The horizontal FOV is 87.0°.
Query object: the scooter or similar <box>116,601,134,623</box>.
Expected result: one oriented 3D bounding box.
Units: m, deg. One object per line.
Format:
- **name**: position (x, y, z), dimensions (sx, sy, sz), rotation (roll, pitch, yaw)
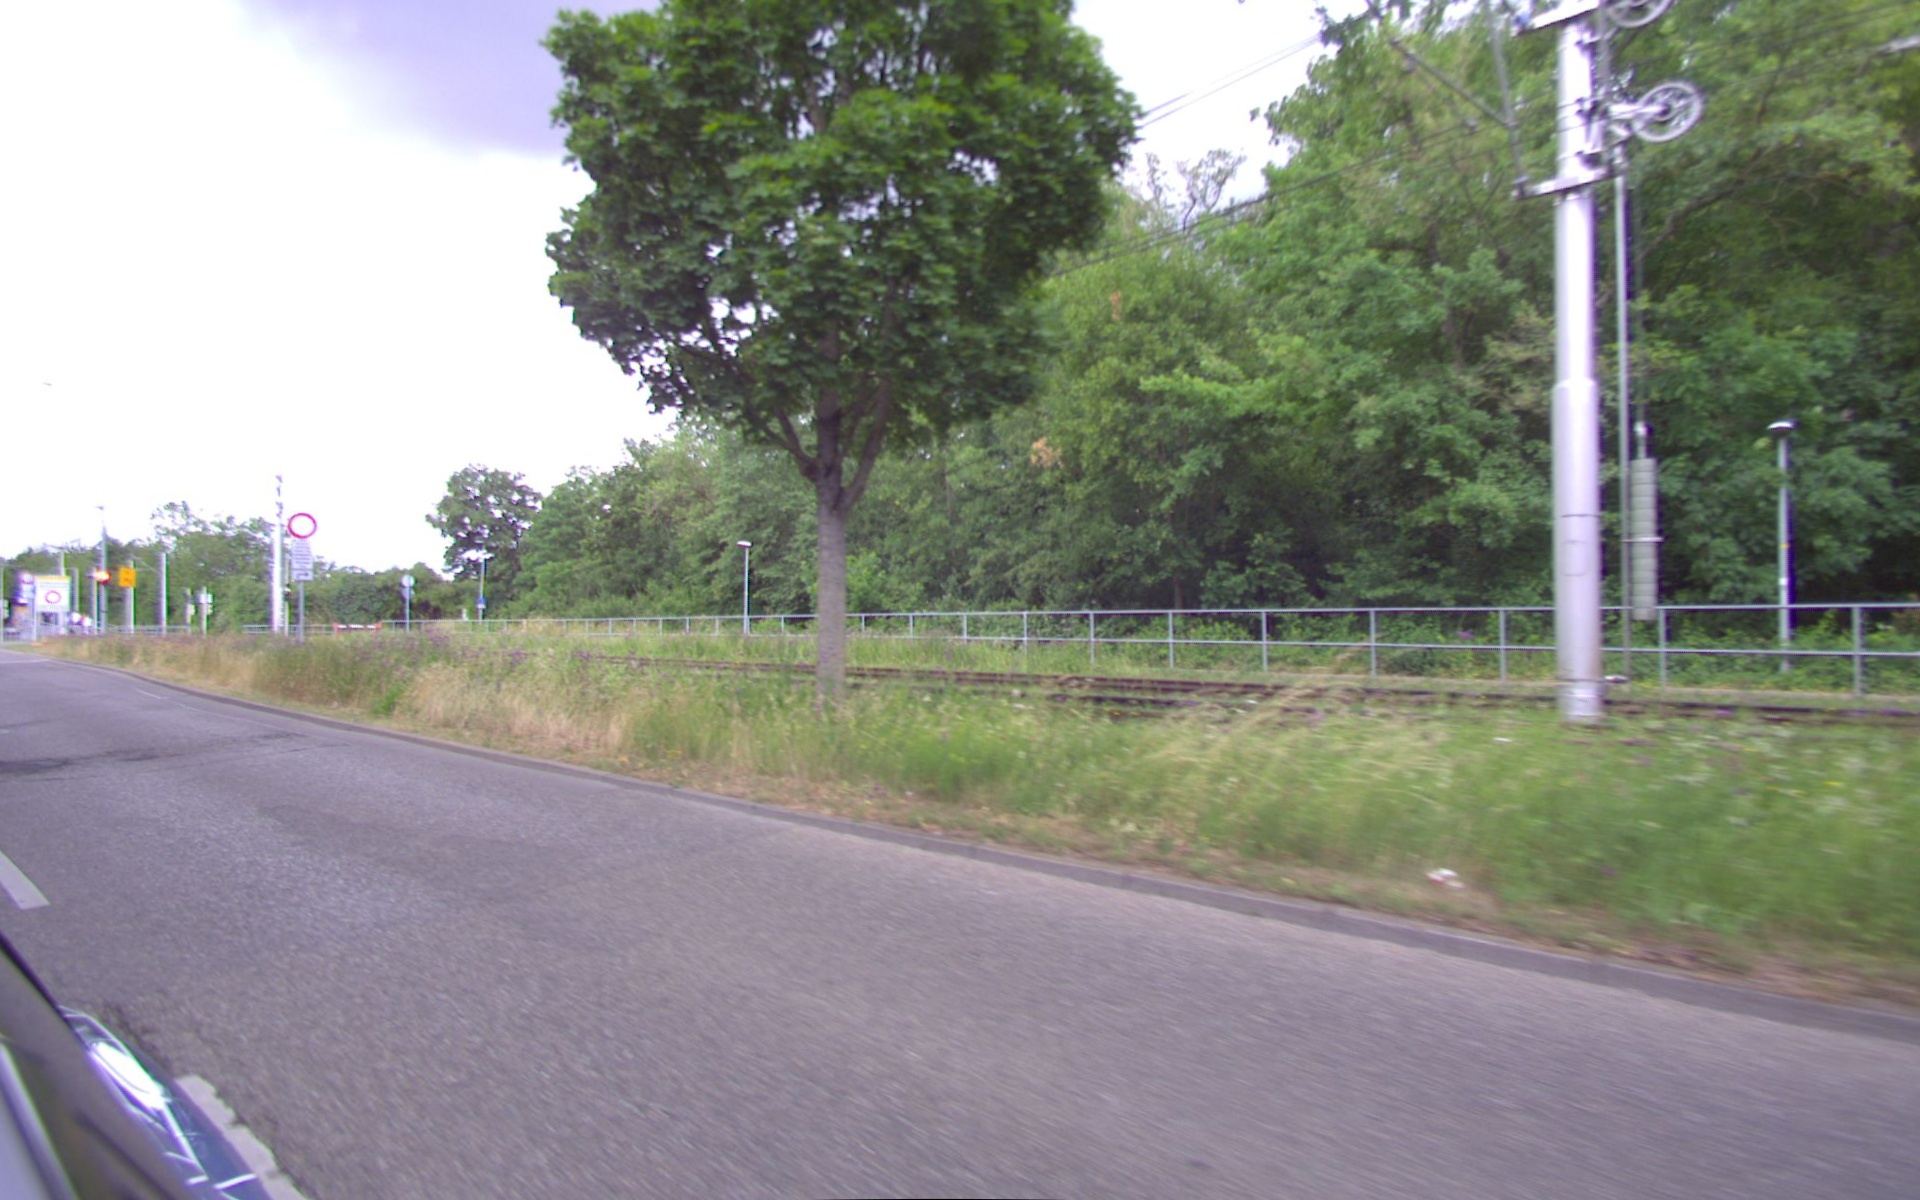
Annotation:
- **scooter or similar**: position (-49.854, 0.740, 60.442), dimensions (1.263, 1.281, 0.408), rotation (-1, -1, 29)
